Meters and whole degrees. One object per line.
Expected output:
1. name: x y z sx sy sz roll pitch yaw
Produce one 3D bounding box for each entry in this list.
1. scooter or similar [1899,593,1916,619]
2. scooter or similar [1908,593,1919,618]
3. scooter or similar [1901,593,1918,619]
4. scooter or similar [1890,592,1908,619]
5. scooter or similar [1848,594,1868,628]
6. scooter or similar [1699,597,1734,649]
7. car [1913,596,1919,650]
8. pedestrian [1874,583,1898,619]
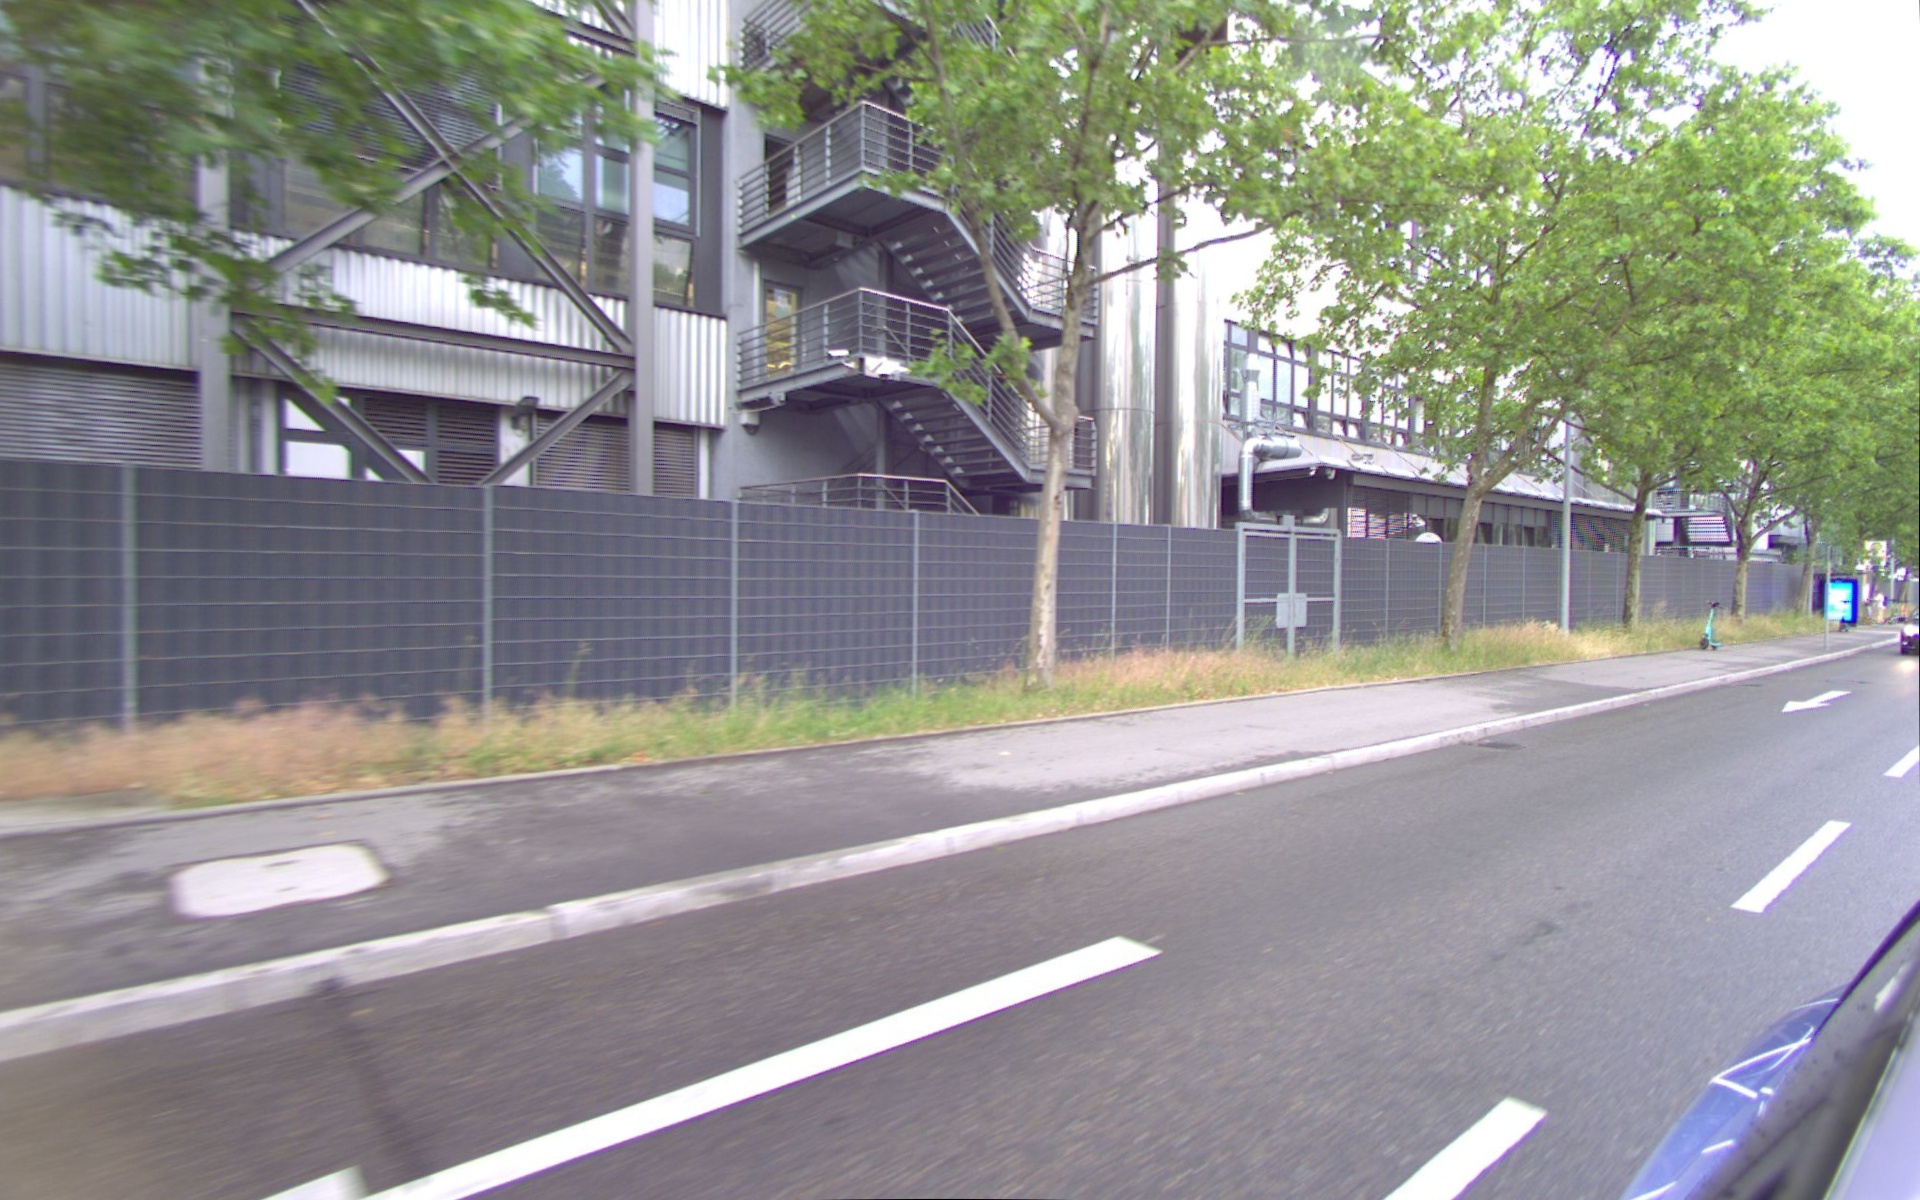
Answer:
1. scooter or similar: 47.643 0.297 50.887 1.277 1.311 0.437 0 1 -38
2. scooter or similar: 50.653 0.274 53.558 1.341 1.311 0.437 0 1 -34
3. scooter or similar: 49.145 0.284 52.360 1.277 1.311 0.437 0 1 -38
4. scooter or similar: 46.492 0.275 50.090 1.277 1.311 0.437 0 1 -38
5. scooter or similar: 35.624 0.429 40.159 1.222 1.325 0.329 0 1 -37
6. scooter or similar: 19.117 0.565 25.579 1.087 1.285 0.330 0 1 -33
7. car: 28.833 0.678 29.122 4.010 1.512 1.877 0 2 -45
8. pedestrian: 44.675 0.046 48.838 0.717 1.731 0.777 0 1 -42
